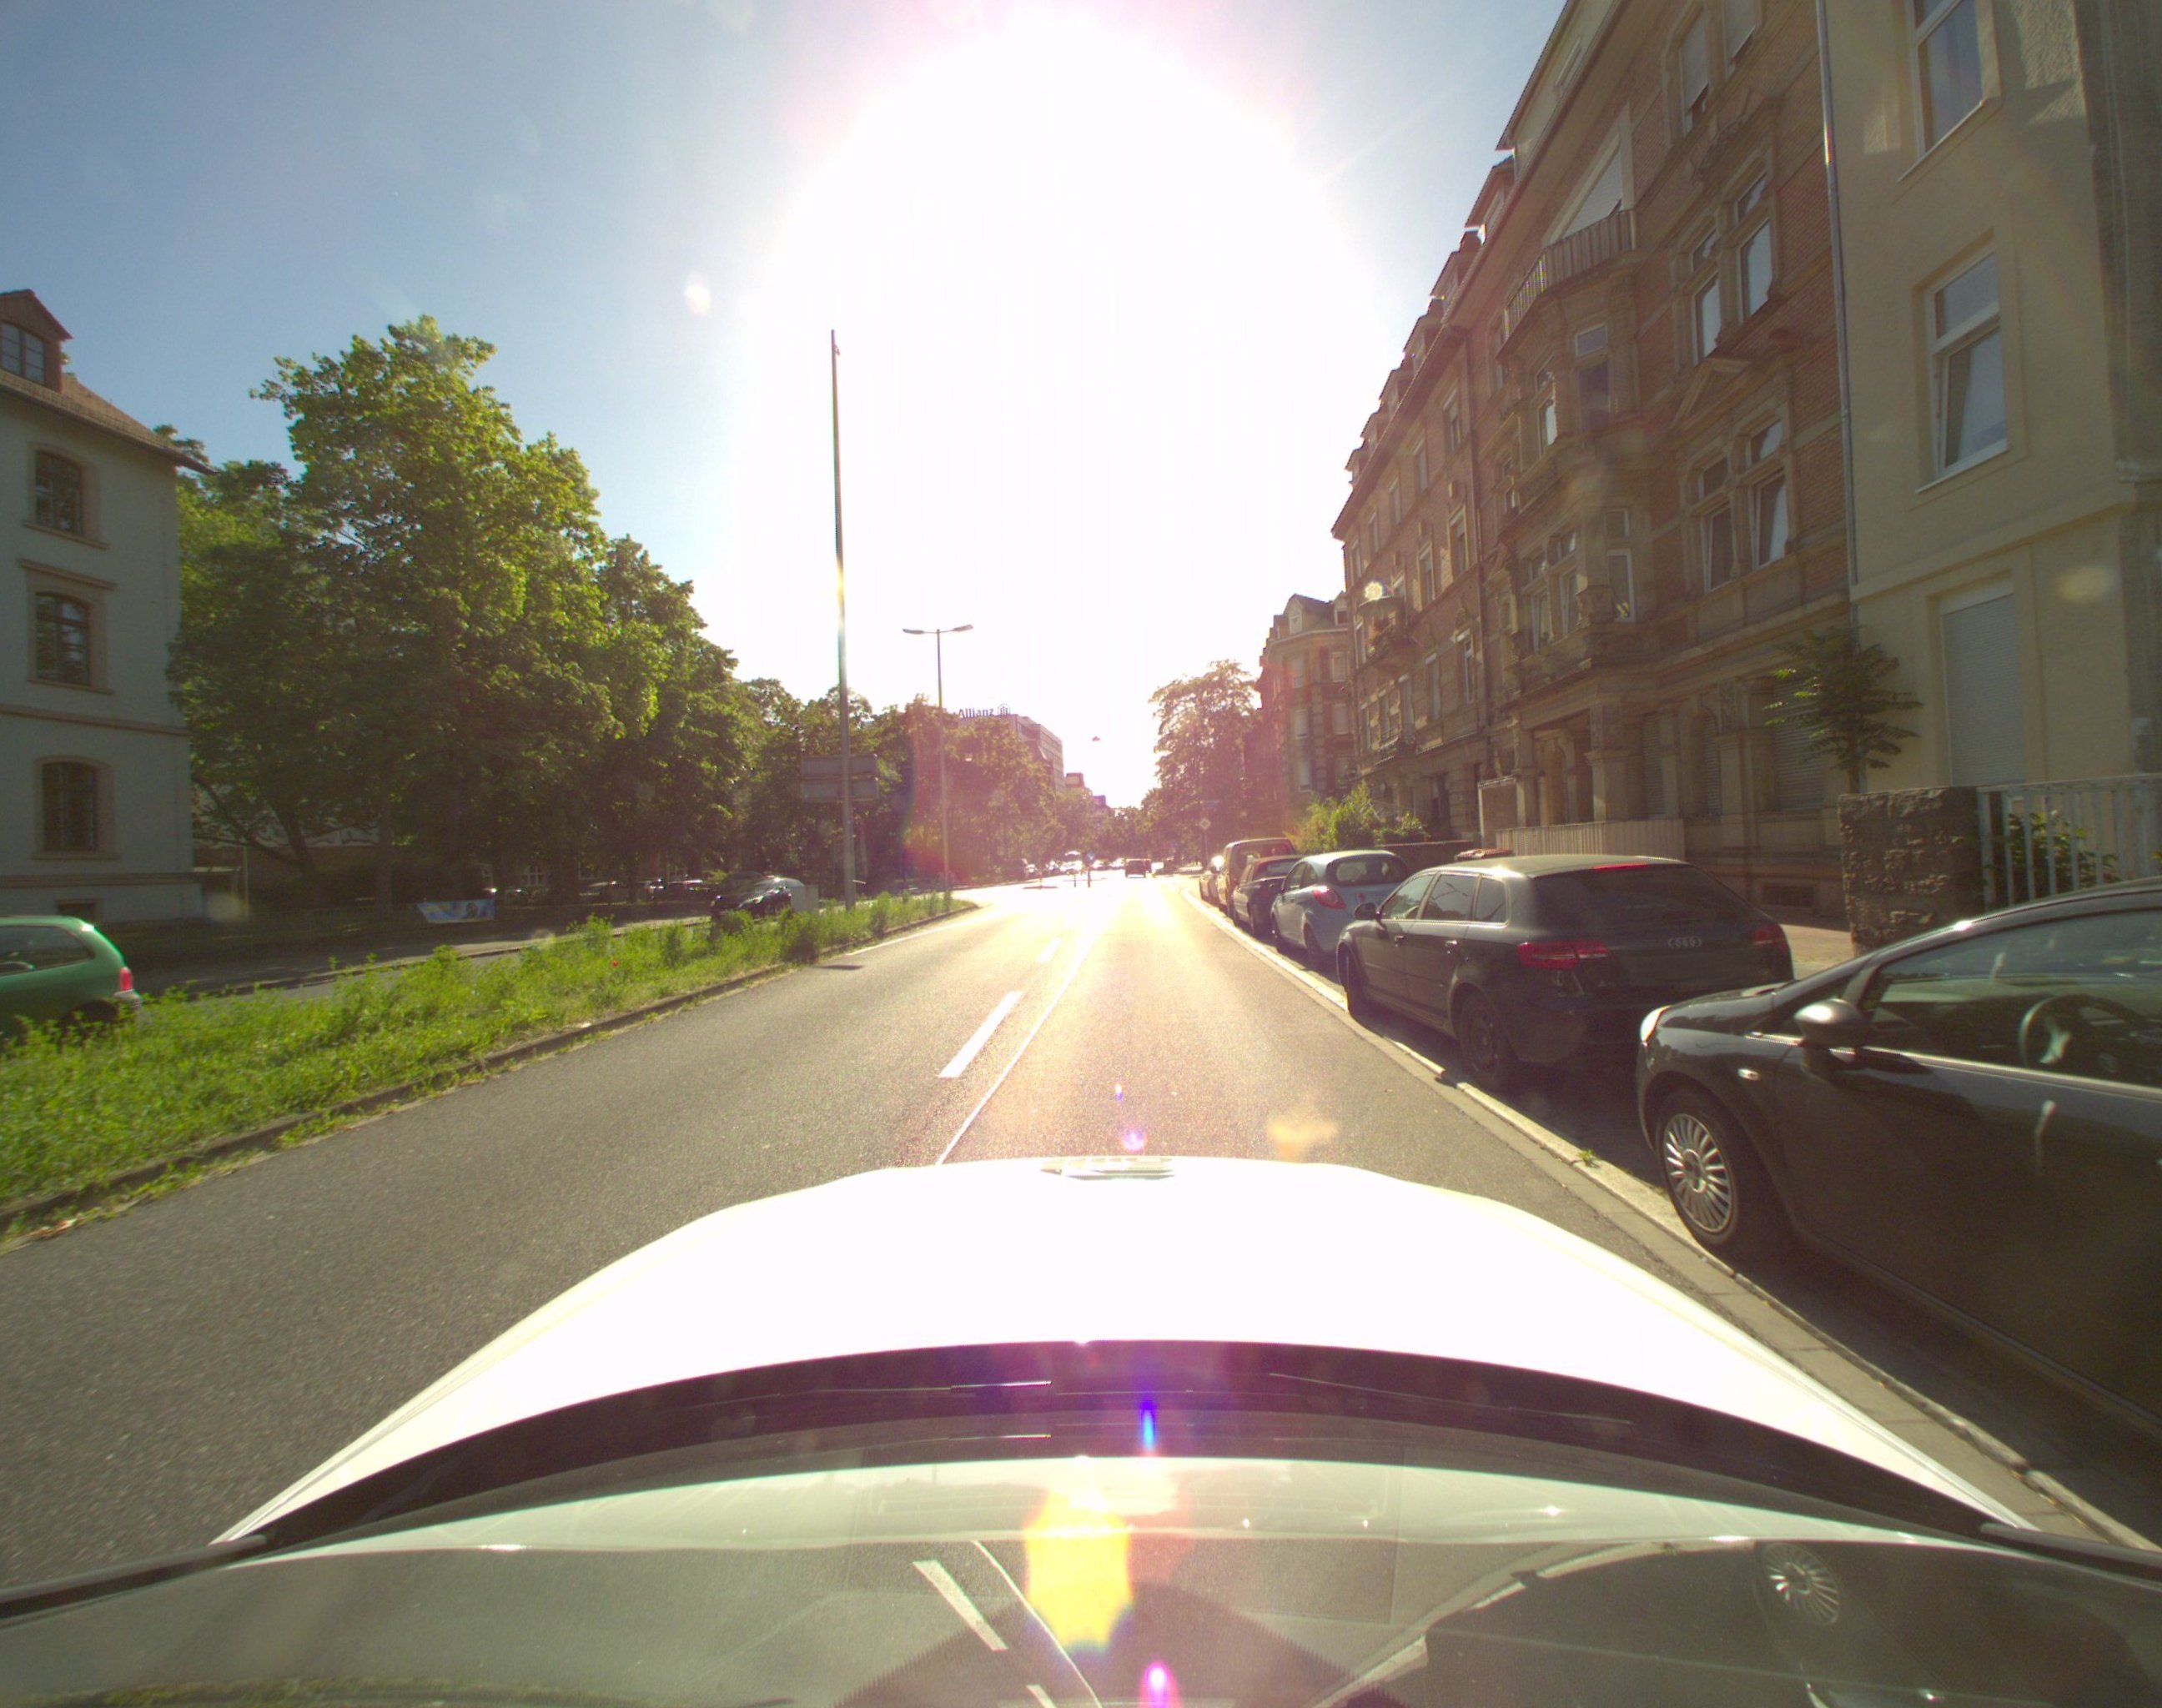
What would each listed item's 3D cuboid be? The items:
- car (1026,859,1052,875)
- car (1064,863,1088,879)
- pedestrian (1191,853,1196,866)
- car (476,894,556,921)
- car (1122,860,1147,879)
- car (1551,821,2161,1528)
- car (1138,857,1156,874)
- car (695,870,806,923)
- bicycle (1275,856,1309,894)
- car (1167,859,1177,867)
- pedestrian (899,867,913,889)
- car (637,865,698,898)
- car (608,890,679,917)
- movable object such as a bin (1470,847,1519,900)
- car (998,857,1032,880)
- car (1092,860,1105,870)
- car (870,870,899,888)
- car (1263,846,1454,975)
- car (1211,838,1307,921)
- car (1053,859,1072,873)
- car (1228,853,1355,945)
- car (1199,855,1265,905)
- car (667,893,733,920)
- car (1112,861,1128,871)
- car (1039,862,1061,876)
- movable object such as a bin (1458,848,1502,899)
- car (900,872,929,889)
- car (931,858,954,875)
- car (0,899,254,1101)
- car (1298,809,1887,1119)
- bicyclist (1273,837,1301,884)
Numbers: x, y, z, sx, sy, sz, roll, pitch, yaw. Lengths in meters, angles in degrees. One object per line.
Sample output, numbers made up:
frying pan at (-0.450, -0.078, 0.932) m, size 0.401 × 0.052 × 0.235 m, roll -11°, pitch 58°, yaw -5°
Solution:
car at (-4.416, 1.350, 85.953) m, size 1.747 × 1.519 × 3.870 m, roll -3°, pitch 0°, yaw 10°
car at (-0.499, 1.799, 86.421) m, size 1.747 × 1.519 × 3.871 m, roll -4°, pitch 0°, yaw 10°
pedestrian at (17.495, 0.919, 126.906) m, size 0.612 × 2.013 × 0.681 m, roll -3°, pitch -1°, yaw 3°
car at (-33.944, 3.183, 49.039) m, size 1.837 × 1.491 × 4.003 m, roll -2°, pitch -3°, yaw 4°
car at (4.478, 1.275, 68.715) m, size 1.888 × 1.519 × 3.999 m, roll -1°, pitch 0°, yaw 0°
car at (2.990, 0.625, 1.878) m, size 1.662 × 1.393 × 3.776 m, roll -3°, pitch 0°, yaw 2°
car at (7.388, 1.241, 90.745) m, size 1.809 × 1.740 × 4.008 m, roll -2°, pitch 0°, yaw 7°
car at (-10.985, 1.350, 27.433) m, size 1.789 × 1.519 × 4.425 m, roll -2°, pitch 0°, yaw 2°
bicycle at (7.360, 0.723, 28.537) m, size 0.737 × 1.219 × 1.962 m, roll -5°, pitch -1°, yaw 5°
car at (19.336, 1.865, 172.473) m, size 1.909 × 1.640 × 4.010 m, roll -3°, pitch 0°, yaw 9°
pedestrian at (-13.491, 1.821, 62.641) m, size 0.662 × 1.626 × 0.720 m, roll -3°, pitch -1°, yaw 36°
car at (-31.364, 2.152, 61.958) m, size 1.837 × 2.324 × 4.988 m, roll -1°, pitch -4°, yaw 4°
car at (-26.043, 2.944, 48.639) m, size 1.837 × 1.491 × 4.003 m, roll -2°, pitch -3°, yaw 4°
movable object such as a bin at (9.281, 0.442, 18.281) m, size 0.755 × 1.157 × 0.609 m, roll -2°, pitch -3°, yaw 4°
car at (-5.985, 1.294, 74.806) m, size 2.188 × 1.929 × 4.869 m, roll -3°, pitch 0°, yaw 5°
car at (2.744, 1.770, 128.506) m, size 1.793 × 1.504 × 3.812 m, roll -3°, pitch 0°, yaw 5°
car at (-20.344, 2.552, 84.189) m, size 1.987 × 1.662 × 3.963 m, roll -3°, pitch 0°, yaw -28°
car at (3.707, 0.672, 11.449) m, size 1.615 × 1.470 × 3.301 m, roll -3°, pitch 0°, yaw 2°
car at (4.452, 0.588, 21.008) m, size 1.810 × 1.844 × 4.370 m, roll -3°, pitch 0°, yaw 5°
car at (-2.219, 1.402, 96.059) m, size 1.514 × 1.432 × 3.347 m, roll -3°, pitch 0°, yaw 10°
car at (3.896, 0.750, 15.750) m, size 1.660 × 1.468 × 4.280 m, roll -3°, pitch 0°, yaw 5°
car at (4.742, 0.784, 26.055) m, size 1.701 × 1.425 × 4.212 m, roll -2°, pitch 0°, yaw 6°
car at (-22.510, 3.100, 48.330) m, size 1.837 × 1.491 × 4.003 m, roll -2°, pitch -3°, yaw 4°
car at (5.867, 1.860, 122.662) m, size 1.773 × 1.460 × 4.427 m, roll -2°, pitch -1°, yaw 10°
car at (-3.442, 1.648, 91.016) m, size 1.513 × 1.432 × 3.565 m, roll -3°, pitch 0°, yaw 12°
movable object such as a bin at (9.391, 0.473, 19.198) m, size 0.719 × 1.157 × 0.609 m, roll -2°, pitch -3°, yaw 4°
car at (-17.683, 2.794, 86.584) m, size 1.986 × 1.662 × 3.965 m, roll -3°, pitch 0°, yaw -27°
car at (-15.196, 1.378, 89.210) m, size 1.980 × 1.662 × 3.976 m, roll -3°, pitch 0°, yaw -17°
car at (-9.492, 1.257, 6.333) m, size 1.632 × 1.519 × 4.260 m, roll -3°, pitch 0°, yaw 2°
car at (3.267, 0.579, 6.500) m, size 1.928 × 1.519 × 4.485 m, roll -3°, pitch 0°, yaw 2°
bicyclist at (7.245, 0.222, 28.627) m, size 0.738 × 1.580 × 1.102 m, roll -2°, pitch 0°, yaw 4°
